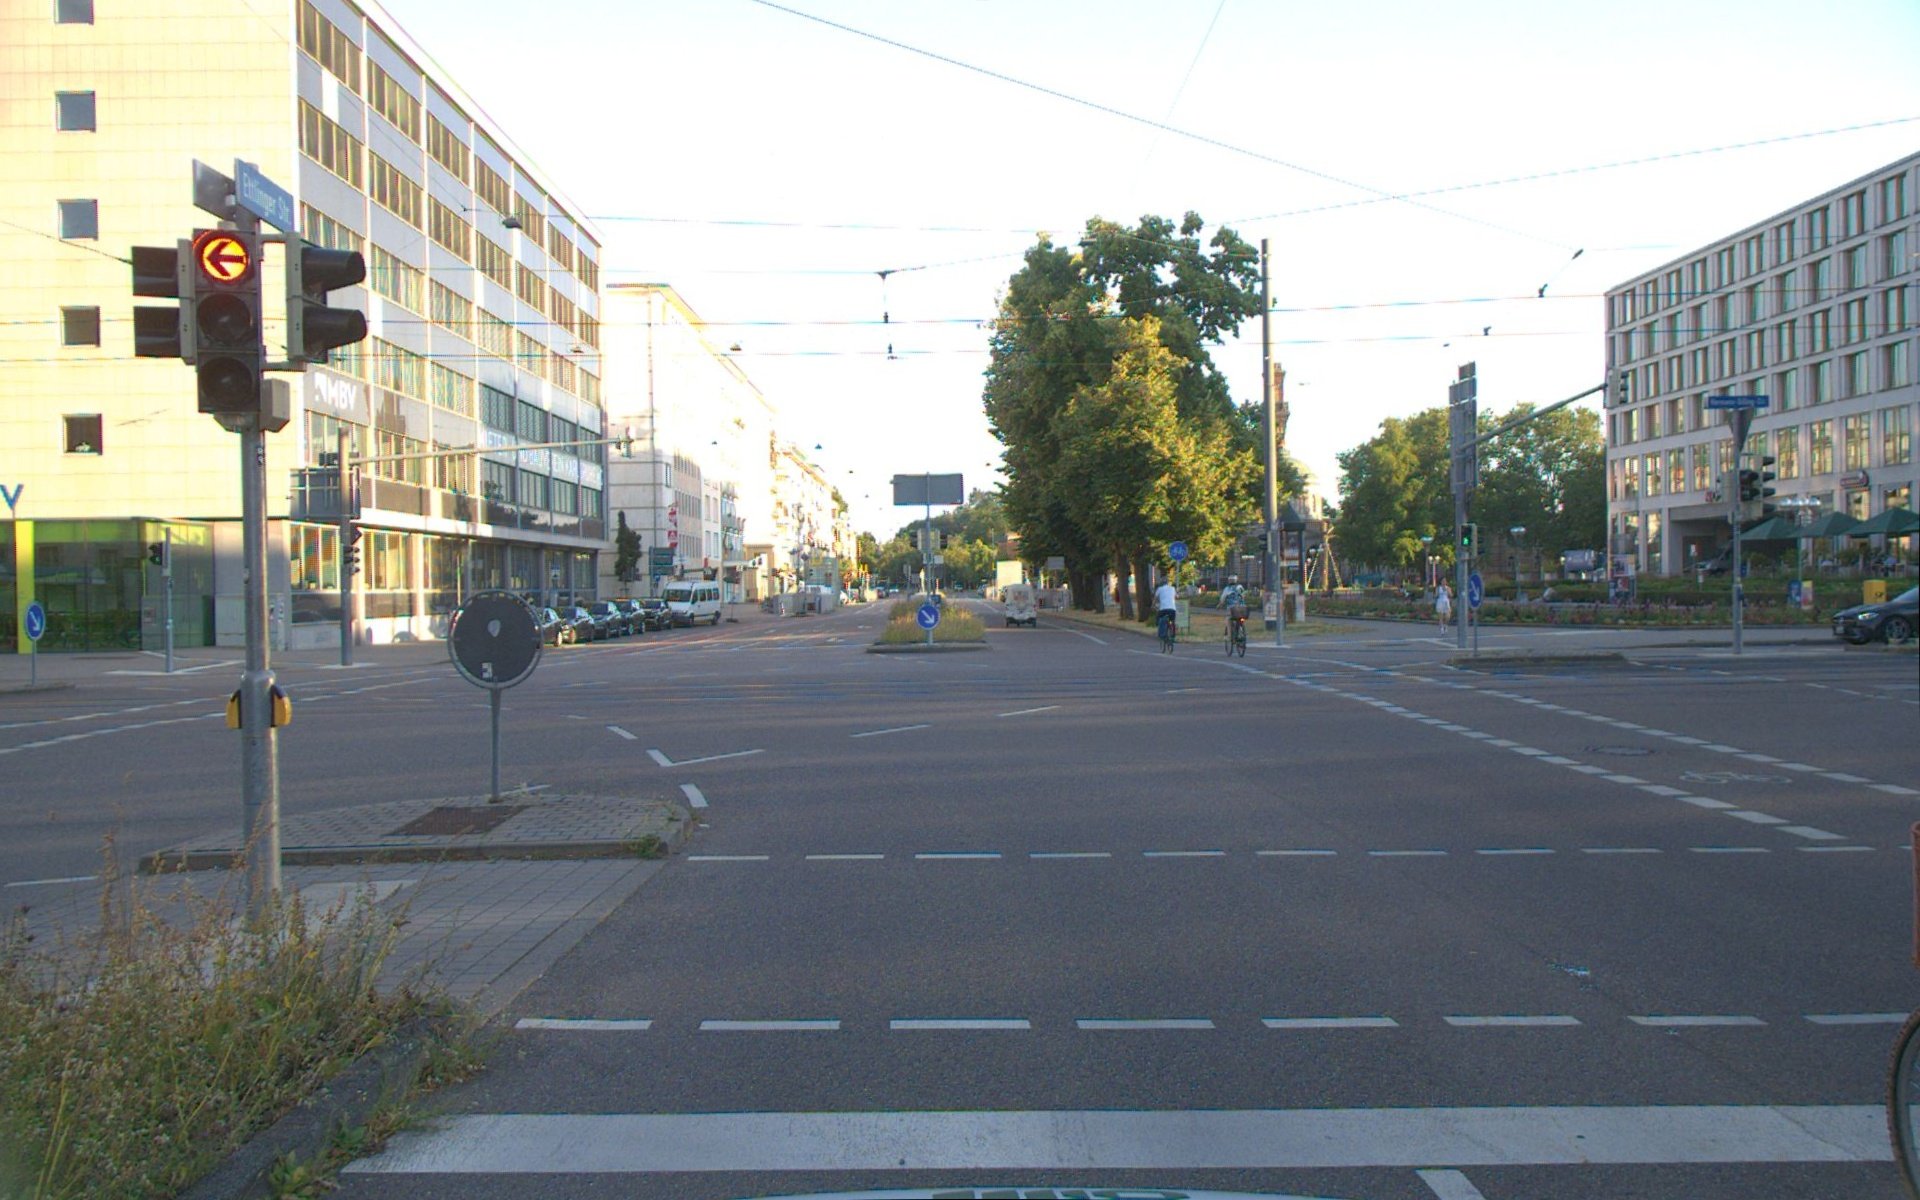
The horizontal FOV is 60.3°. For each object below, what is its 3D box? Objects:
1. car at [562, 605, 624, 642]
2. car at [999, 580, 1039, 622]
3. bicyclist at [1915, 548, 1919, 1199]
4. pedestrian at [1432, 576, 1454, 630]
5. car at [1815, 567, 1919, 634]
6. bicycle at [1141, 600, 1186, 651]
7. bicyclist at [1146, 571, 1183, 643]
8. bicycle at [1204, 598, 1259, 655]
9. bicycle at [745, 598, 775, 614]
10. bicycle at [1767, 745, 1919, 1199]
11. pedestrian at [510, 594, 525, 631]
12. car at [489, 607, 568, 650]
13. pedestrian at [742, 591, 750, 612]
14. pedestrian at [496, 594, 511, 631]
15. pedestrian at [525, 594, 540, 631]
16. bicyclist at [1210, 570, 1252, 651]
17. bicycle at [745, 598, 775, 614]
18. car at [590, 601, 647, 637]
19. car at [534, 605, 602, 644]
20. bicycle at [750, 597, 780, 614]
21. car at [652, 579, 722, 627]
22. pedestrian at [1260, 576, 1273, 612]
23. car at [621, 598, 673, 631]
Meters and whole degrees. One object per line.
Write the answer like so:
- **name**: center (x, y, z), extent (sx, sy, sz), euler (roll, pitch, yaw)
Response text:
- **car**: center (-16.143, 1.012, 72.981), extent (1.882, 1.489, 3.999), euler (-1, 0, -1)
- **car**: center (2.490, 0.034, 70.227), extent (1.379, 1.670, 3.998), euler (-1, 0, -2)
- **bicyclist**: center (2.192, 0.539, 2.776), extent (0.587, 1.665, 0.998), euler (1, 0, -1)
- **pedestrian**: center (14.153, 0.098, 48.496), extent (0.480, 1.566, 0.408), euler (-1, 0, -1)
- **car**: center (23.495, -0.028, 39.841), extent (4.724, 1.542, 2.000), euler (-1, 0, 1)
- **bicycle**: center (4.941, 0.594, 40.284), extent (0.731, 1.164, 2.505), euler (-1, 0, -1)
- **bicyclist**: center (4.921, 0.159, 39.870), extent (0.731, 1.692, 0.873), euler (-1, 0, -1)
- **bicycle**: center (5.851, 0.547, 35.788), extent (0.731, 1.164, 2.505), euler (-1, 0, -1)
- **bicycle**: center (-15.301, 0.442, 126.667), extent (2.161, 1.131, 0.689), euler (-1, 0, -3)
- **bicycle**: center (2.185, 0.920, 2.835), extent (0.599, 1.152, 2.004), euler (1, 0, -1)
- **pedestrian**: center (-20.814, 0.583, 77.865), extent (0.540, 1.708, 0.500), euler (-1, 0, -1)
- **car**: center (-16.013, 1.032, 61.620), extent (1.882, 1.489, 4.102), euler (-1, 0, -1)
- **pedestrian**: center (-21.264, 0.180, 164.590), extent (0.666, 2.049, 0.545), euler (-2, 0, -1)
- **pedestrian**: center (-21.404, 0.601, 77.614), extent (0.540, 1.708, 0.500), euler (-1, 0, -1)
- **pedestrian**: center (-20.091, 0.575, 77.770), extent (0.540, 1.708, 0.500), euler (-1, 0, -1)
- **bicyclist**: center (5.842, 0.225, 35.736), extent (0.731, 1.720, 0.799), euler (-1, 0, -1)
- **bicycle**: center (-15.122, 0.455, 125.242), extent (2.161, 1.131, 0.618), euler (-1, 0, -3)
- **car**: center (-16.140, 0.881, 78.285), extent (1.882, 1.595, 3.999), euler (-1, 0, -1)
- **car**: center (-16.123, 0.992, 68.167), extent (1.882, 1.489, 3.999), euler (-1, 0, -1)
- **bicycle**: center (-15.164, 0.414, 128.653), extent (2.161, 1.258, 0.839), euler (-1, 0, -2)
- **car**: center (-14.949, 0.144, 90.991), extent (1.958, 2.521, 5.873), euler (-1, 0, 9)
- **pedestrian**: center (14.374, -0.292, 77.610), extent (0.451, 1.685, 0.566), euler (-1, 0, -1)
- **car**: center (-15.966, 0.732, 84.516), extent (1.882, 1.595, 3.999), euler (-1, 0, -1)
